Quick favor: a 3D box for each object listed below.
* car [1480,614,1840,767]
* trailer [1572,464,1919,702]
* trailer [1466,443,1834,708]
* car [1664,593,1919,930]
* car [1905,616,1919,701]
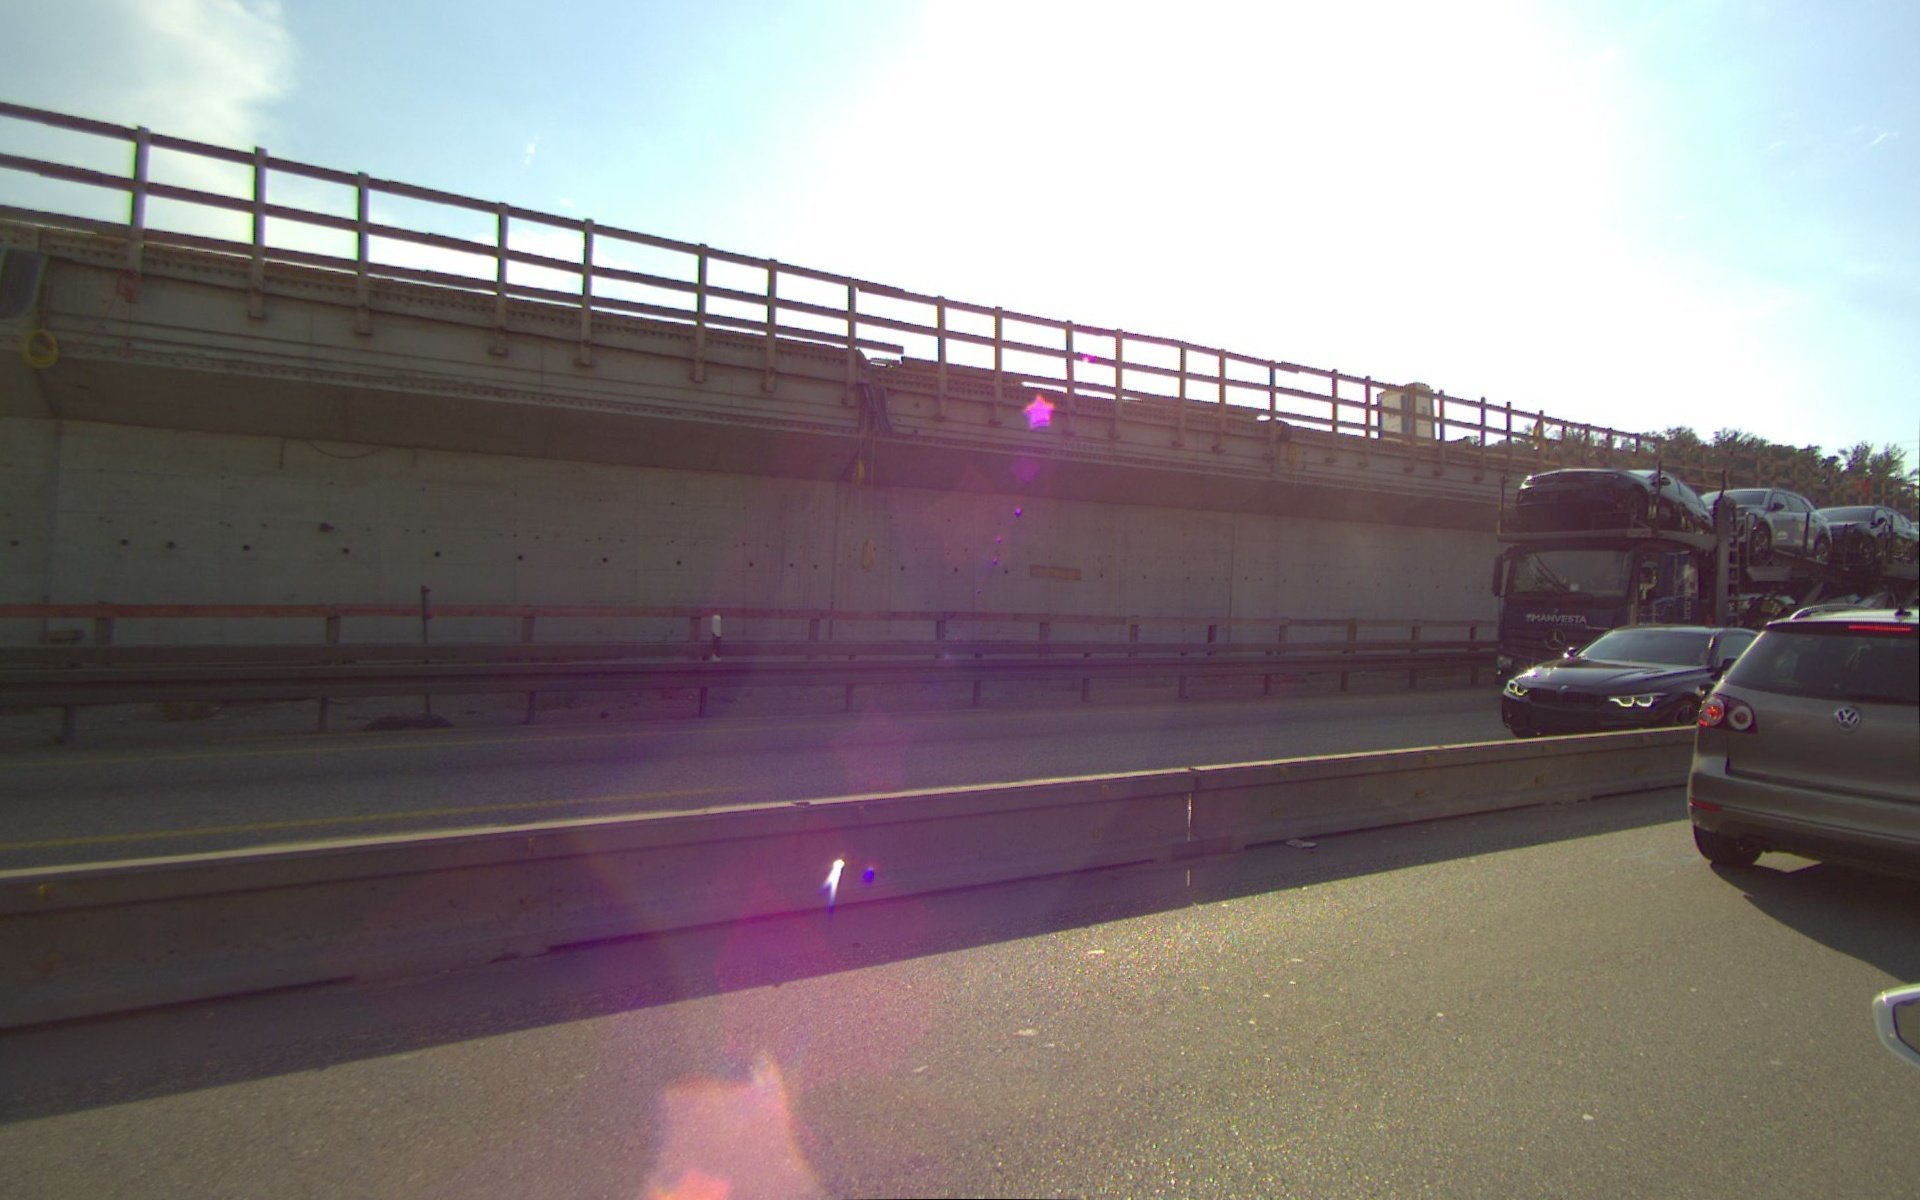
[{"bbox_3d":[8.314,0.959,11.827,4.545,1.464,1.701,2,0,-30],"label":"car"},{"bbox_3d":[19.393,-0.136,22.344,15.579,4.084,2.758,2,0,-30],"label":"trailer"},{"bbox_3d":[12.809,-0.312,18.494,7.123,4.084,2.758,1,0,-30],"label":"trailer"},{"bbox_3d":[6.276,0.833,6.117,4.223,1.609,1.672,2,-1,-31],"label":"car"},{"bbox_3d":[20.343,1.166,19.506,4.288,1.599,1.748,1,0,-30],"label":"car"}]
